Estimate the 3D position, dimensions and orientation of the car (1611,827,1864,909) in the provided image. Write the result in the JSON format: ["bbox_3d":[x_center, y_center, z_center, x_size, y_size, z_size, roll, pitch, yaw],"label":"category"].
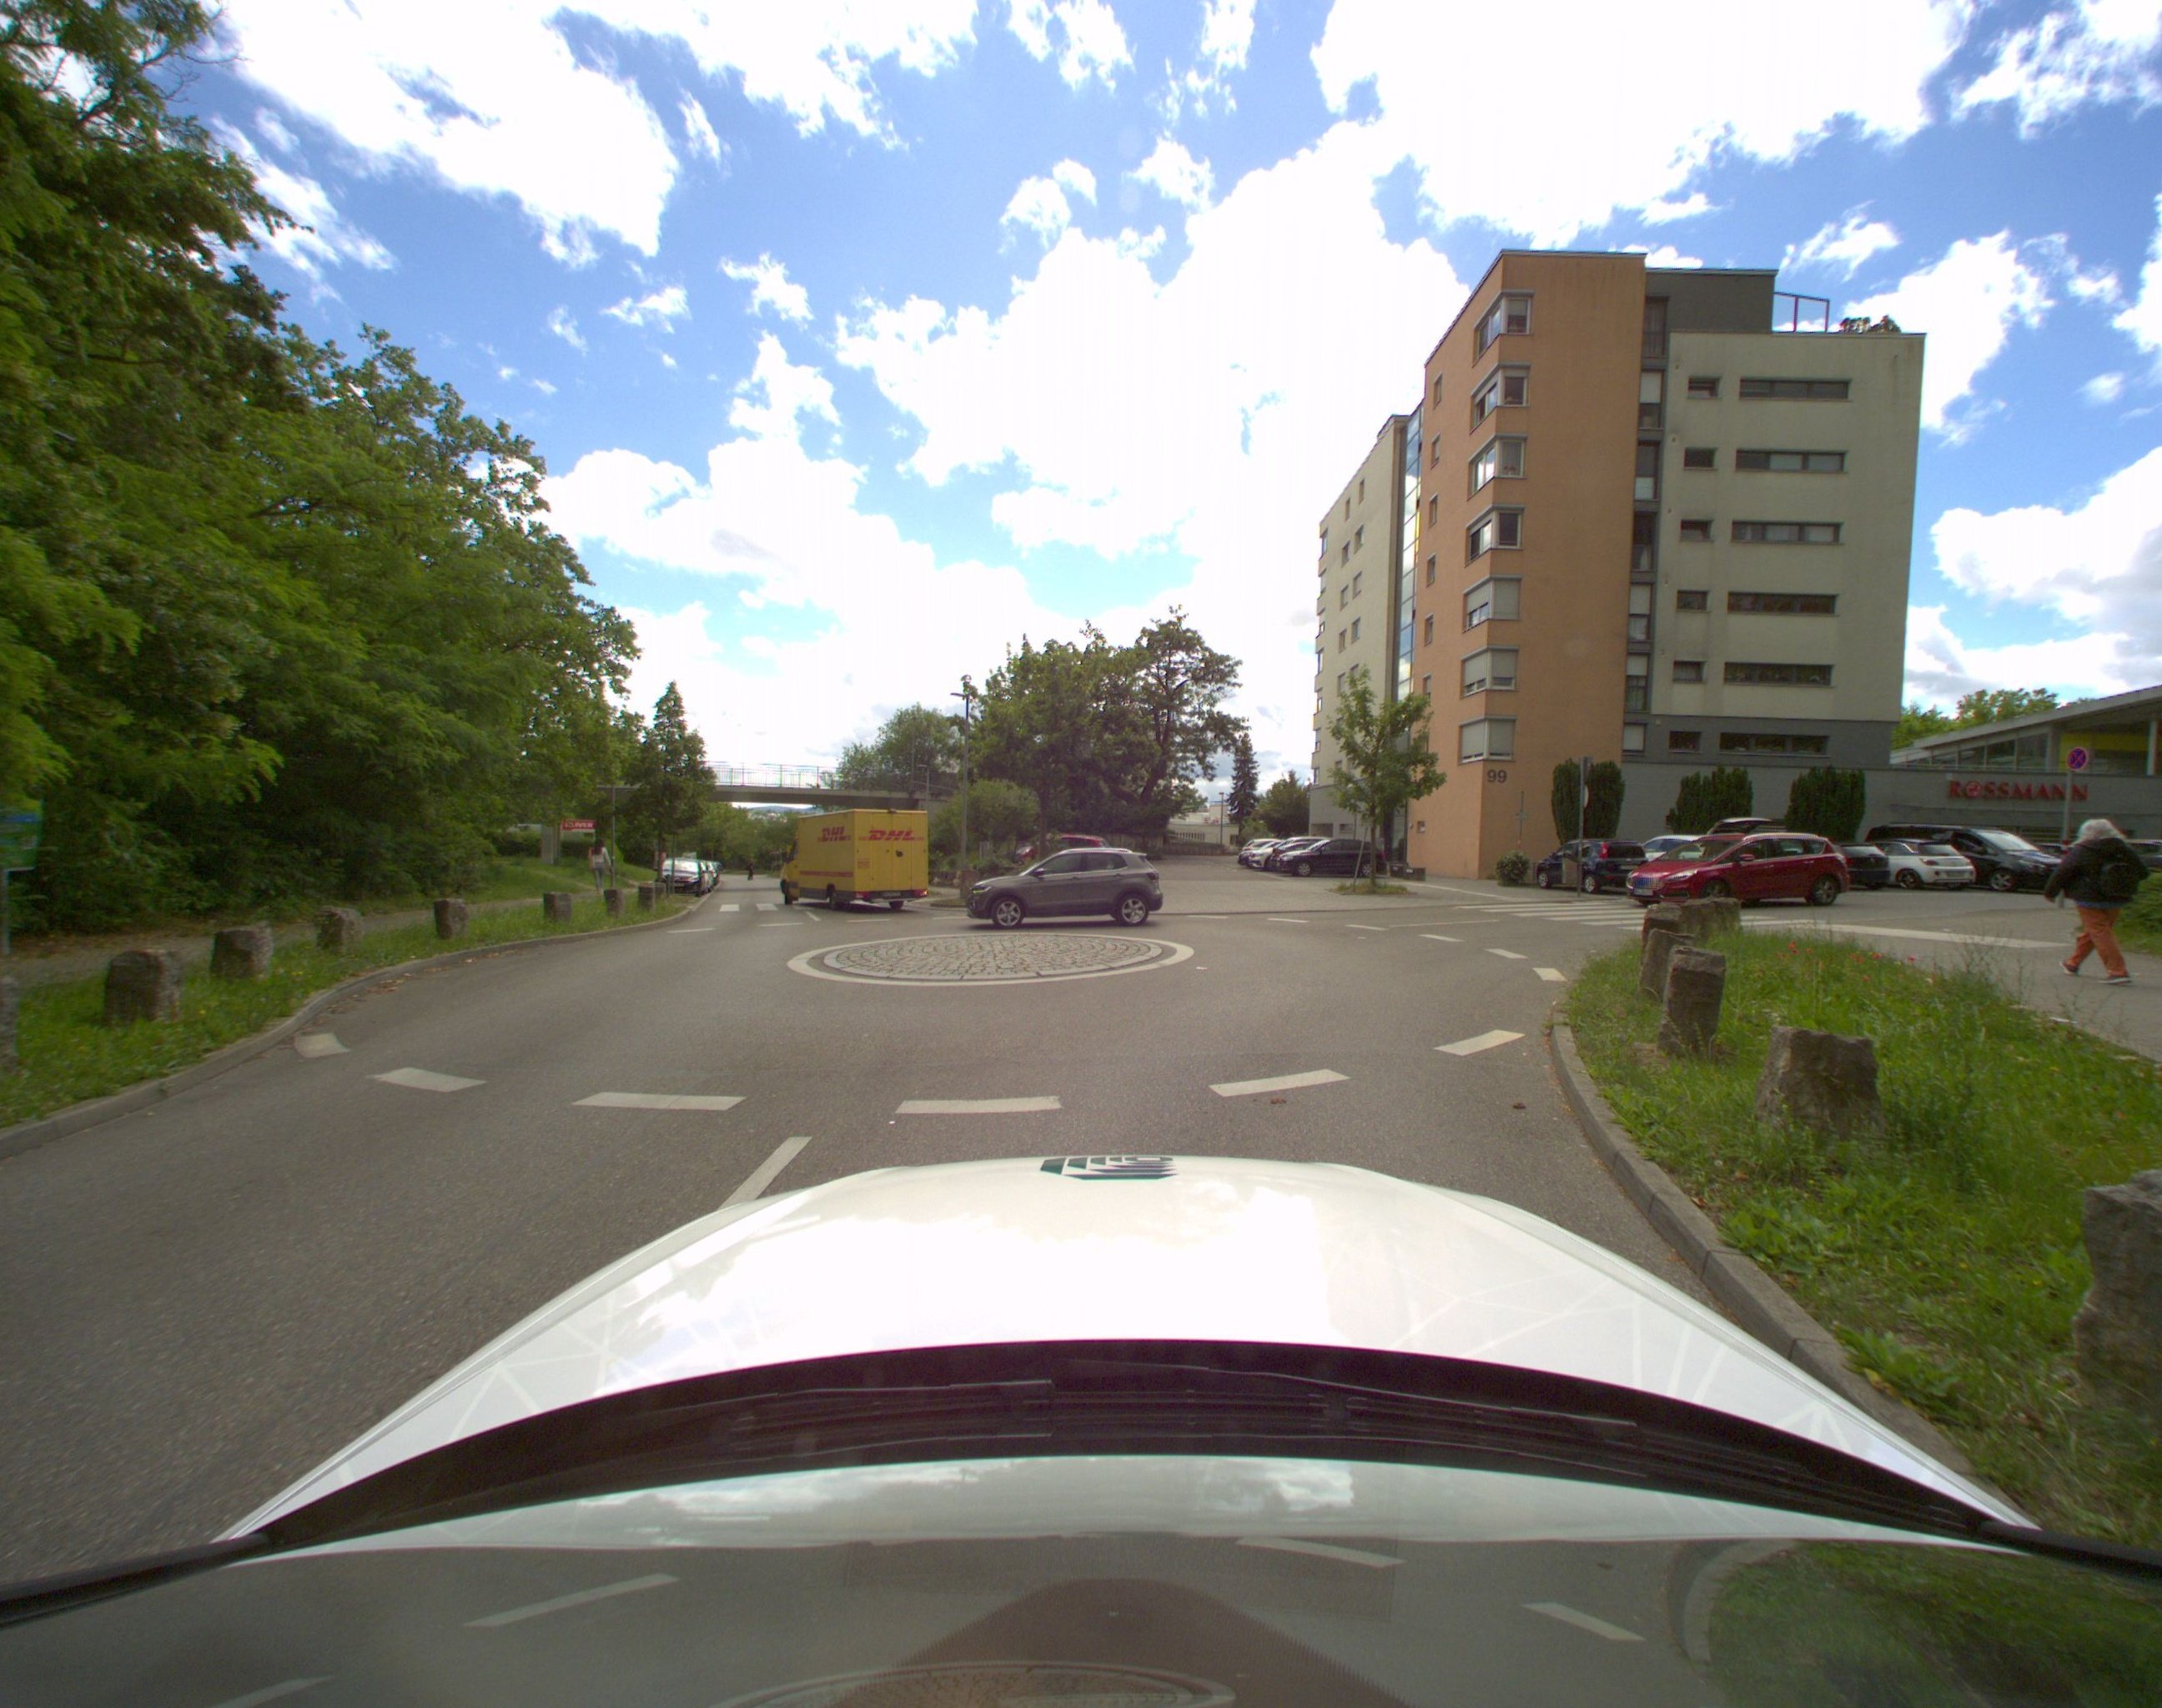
[{"bbox_3d":[14.992,0.284,18.719,4.518,1.644,1.975,-2,0,-8],"label":"car"}]

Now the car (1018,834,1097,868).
[{"bbox_3d":[-1.101,-0.133,38.991,3.639,1.498,1.684,1,0,-1],"label":"car"}]

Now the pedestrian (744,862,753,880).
[{"bbox_3d":[-28.602,1.482,70.060,0.721,1.541,0.550,1,0,-25],"label":"pedestrian"}]

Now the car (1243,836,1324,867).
[{"bbox_3d":[10.710,-0.142,43.254,3.961,1.517,1.760,1,0,5],"label":"car"}]

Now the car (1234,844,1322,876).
[{"bbox_3d":[9.820,0.297,40.844,4.023,1.517,1.758,1,0,4],"label":"car"}]

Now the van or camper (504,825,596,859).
[{"bbox_3d":[-34.924,-0.770,53.754,4.881,2.086,1.982,1,0,-28],"label":"van or camper"}]

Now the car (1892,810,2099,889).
[{"bbox_3d":[27.324,-0.132,24.556,1.818,2.160,3.978,1,0,1],"label":"car"}]

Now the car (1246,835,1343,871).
[{"bbox_3d":[10.053,-0.058,38.492,4.109,1.594,1.691,1,0,-3],"label":"car"}]

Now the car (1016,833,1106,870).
[{"bbox_3d":[-0.801,-0.118,34.039,3.639,1.439,1.684,1,0,-1],"label":"car"}]

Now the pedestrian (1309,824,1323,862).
[{"bbox_3d":[11.438,-0.541,39.637,0.478,1.853,0.505,1,0,-9],"label":"pedestrian"}]

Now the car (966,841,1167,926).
[{"bbox_3d":[-0.323,0.585,17.081,3.990,1.618,1.719,-1,-1,-5],"label":"car"}]

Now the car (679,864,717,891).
[{"bbox_3d":[-22.403,1.333,47.581,1.894,1.509,4.414,1,-1,-26],"label":"car"}]

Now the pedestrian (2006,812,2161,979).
[{"bbox_3d":[10.520,0.412,8.574,0.610,1.665,0.842,1,0,5],"label":"pedestrian"}]

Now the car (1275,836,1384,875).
[{"bbox_3d":[10.238,0.057,33.773,4.023,1.517,1.758,1,0,4],"label":"car"}]

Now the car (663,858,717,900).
[{"bbox_3d":[-15.428,0.945,32.216,1.795,1.468,3.967,1,0,-25],"label":"car"}]

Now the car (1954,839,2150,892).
[{"bbox_3d":[29.940,0.325,25.302,1.631,1.482,3.778,-1,0,1],"label":"car"}]

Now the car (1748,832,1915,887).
[{"bbox_3d":[22.611,0.157,24.752,1.631,1.482,3.778,-1,0,1],"label":"car"}]

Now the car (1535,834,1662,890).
[{"bbox_3d":[15.000,0.217,23.843,1.495,1.476,3.527,-2,0,1],"label":"car"}]

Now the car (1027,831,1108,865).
[{"bbox_3d":[-0.714,-0.293,41.376,3.978,1.614,1.942,1,0,-3],"label":"car"}]

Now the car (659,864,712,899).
[{"bbox_3d":[-17.784,1.215,36.762,1.892,1.460,3.521,1,0,-22],"label":"car"}]

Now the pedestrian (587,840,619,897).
[{"bbox_3d":[-14.690,0.436,25.017,0.743,1.722,0.652,1,0,-40],"label":"pedestrian"}]

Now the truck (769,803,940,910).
[{"bbox_3d":[-6.844,0.113,23.917,2.486,2.702,6.747,1,-1,-37],"label":"truck"}]

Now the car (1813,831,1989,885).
[{"bbox_3d":[24.911,0.123,24.948,1.631,1.482,3.778,-1,0,1],"label":"car"}]

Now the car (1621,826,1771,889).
[{"bbox_3d":[17.832,0.089,23.833,1.562,1.659,3.778,-1,0,1],"label":"car"}]

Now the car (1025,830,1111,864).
[{"bbox_3d":[-0.712,-0.369,44.156,4.533,1.668,1.942,1,0,-3],"label":"car"}]

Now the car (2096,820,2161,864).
[{"bbox_3d":[37.165,-0.413,27.277,1.631,1.482,3.778,-1,0,1],"label":"car"}]

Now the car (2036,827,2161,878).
[{"bbox_3d":[32.160,-0.067,24.860,1.631,1.482,3.778,-1,0,1],"label":"car"}]

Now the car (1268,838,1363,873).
[{"bbox_3d":[10.331,0.062,36.082,3.810,1.459,1.694,1,0,4],"label":"car"}]
